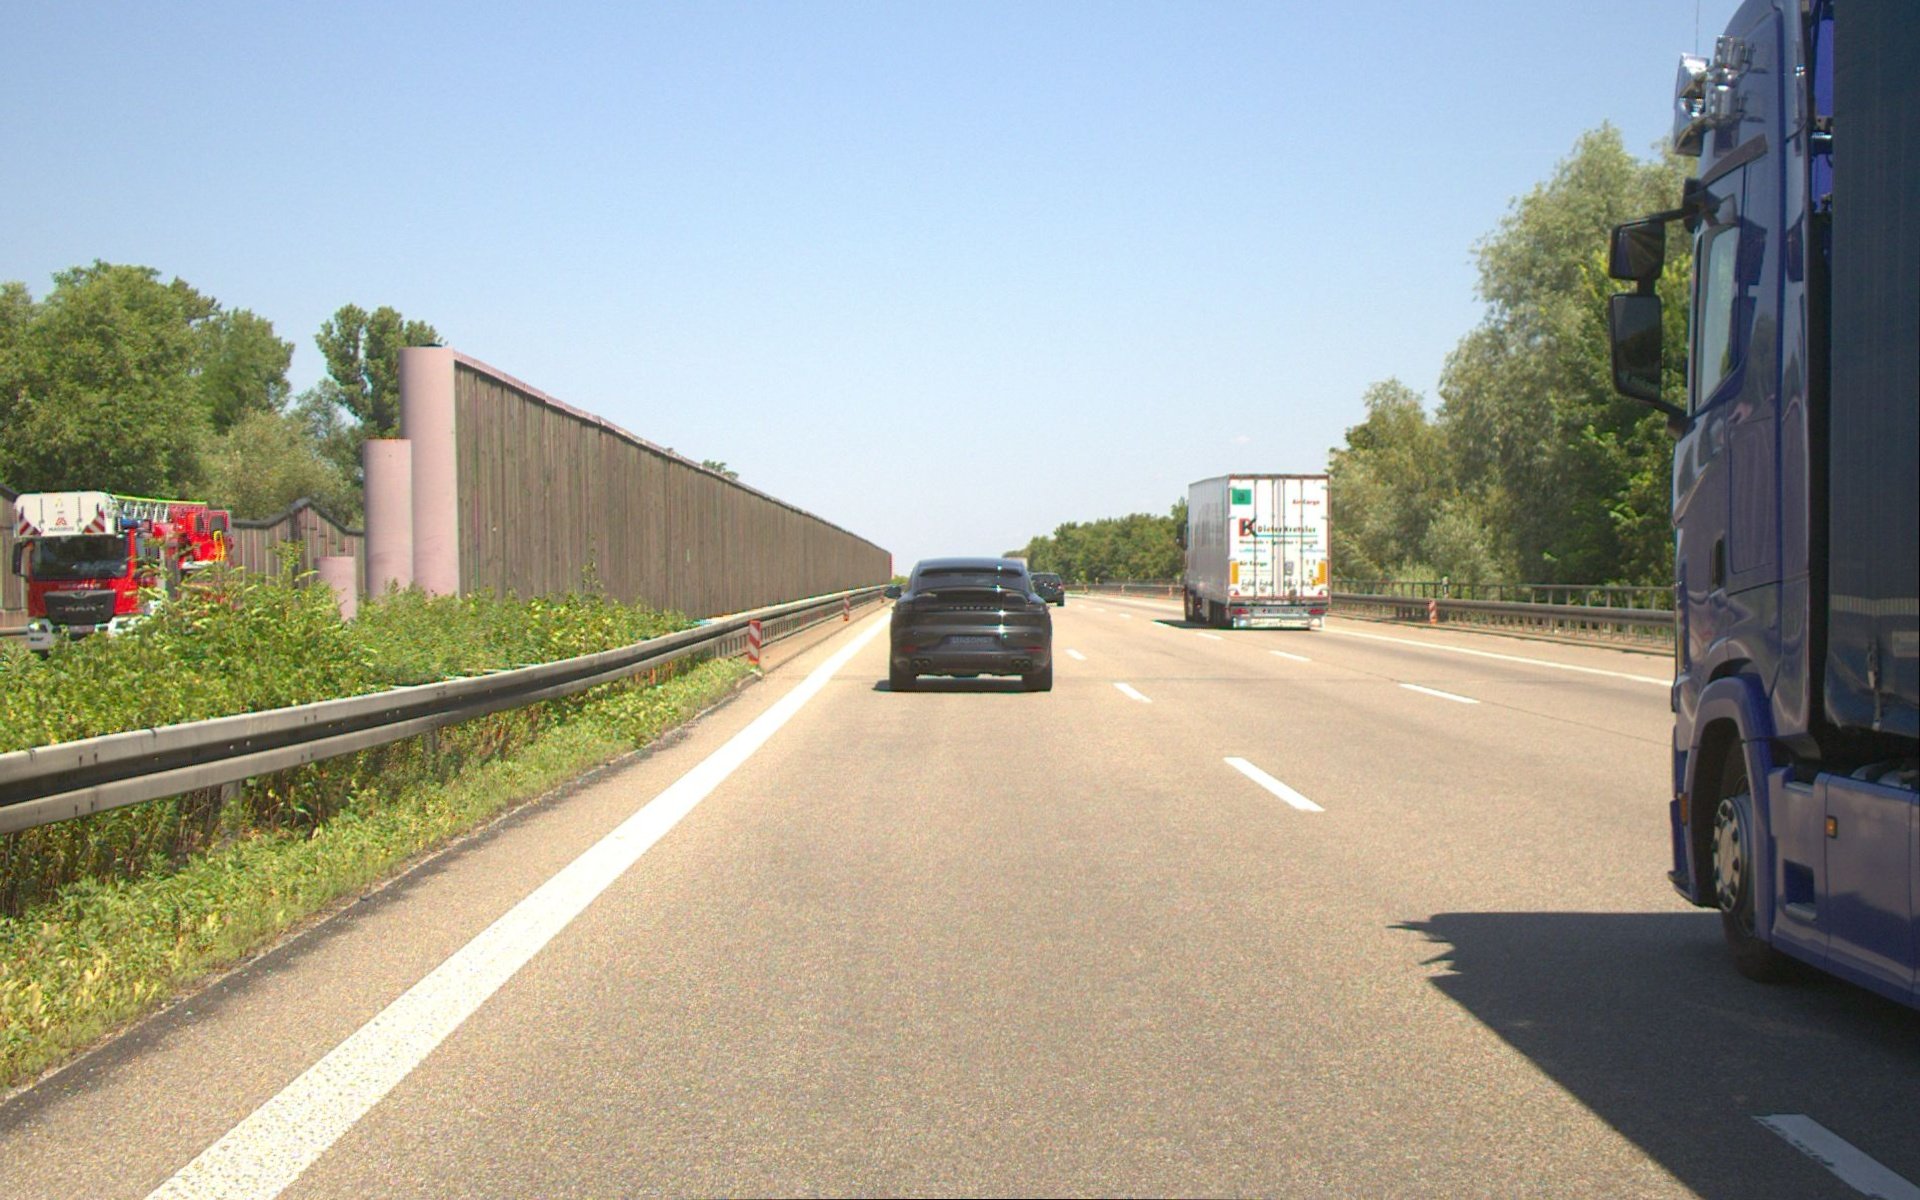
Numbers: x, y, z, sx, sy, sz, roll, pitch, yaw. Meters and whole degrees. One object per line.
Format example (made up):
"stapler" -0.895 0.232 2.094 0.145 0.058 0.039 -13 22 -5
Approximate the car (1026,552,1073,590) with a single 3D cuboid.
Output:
"car" 3.900 -1.262 150.421 1.903 1.578 4.304 -1 0 0

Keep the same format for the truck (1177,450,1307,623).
"truck" 8.207 -1.836 100.845 3.234 4.872 6.972 1 0 0

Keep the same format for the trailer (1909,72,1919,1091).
"trailer" 4.140 -0.587 3.833 2.700 4.104 12.132 1 0 0

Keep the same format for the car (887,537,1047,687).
"car" 0.047 0.120 43.076 1.880 1.786 4.000 0 1 -2

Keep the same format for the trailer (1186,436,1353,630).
"trailer" 8.226 -1.749 93.260 3.269 4.821 14.029 1 0 0

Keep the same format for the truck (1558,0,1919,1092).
"truck" 4.043 -0.666 11.493 2.700 4.104 6.991 1 0 -1

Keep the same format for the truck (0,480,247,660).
"truck" -17.494 -0.638 72.319 2.699 3.480 10.854 1 0 0

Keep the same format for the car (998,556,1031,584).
"car" 3.218 -1.752 202.988 1.903 1.578 4.304 -1 0 0
